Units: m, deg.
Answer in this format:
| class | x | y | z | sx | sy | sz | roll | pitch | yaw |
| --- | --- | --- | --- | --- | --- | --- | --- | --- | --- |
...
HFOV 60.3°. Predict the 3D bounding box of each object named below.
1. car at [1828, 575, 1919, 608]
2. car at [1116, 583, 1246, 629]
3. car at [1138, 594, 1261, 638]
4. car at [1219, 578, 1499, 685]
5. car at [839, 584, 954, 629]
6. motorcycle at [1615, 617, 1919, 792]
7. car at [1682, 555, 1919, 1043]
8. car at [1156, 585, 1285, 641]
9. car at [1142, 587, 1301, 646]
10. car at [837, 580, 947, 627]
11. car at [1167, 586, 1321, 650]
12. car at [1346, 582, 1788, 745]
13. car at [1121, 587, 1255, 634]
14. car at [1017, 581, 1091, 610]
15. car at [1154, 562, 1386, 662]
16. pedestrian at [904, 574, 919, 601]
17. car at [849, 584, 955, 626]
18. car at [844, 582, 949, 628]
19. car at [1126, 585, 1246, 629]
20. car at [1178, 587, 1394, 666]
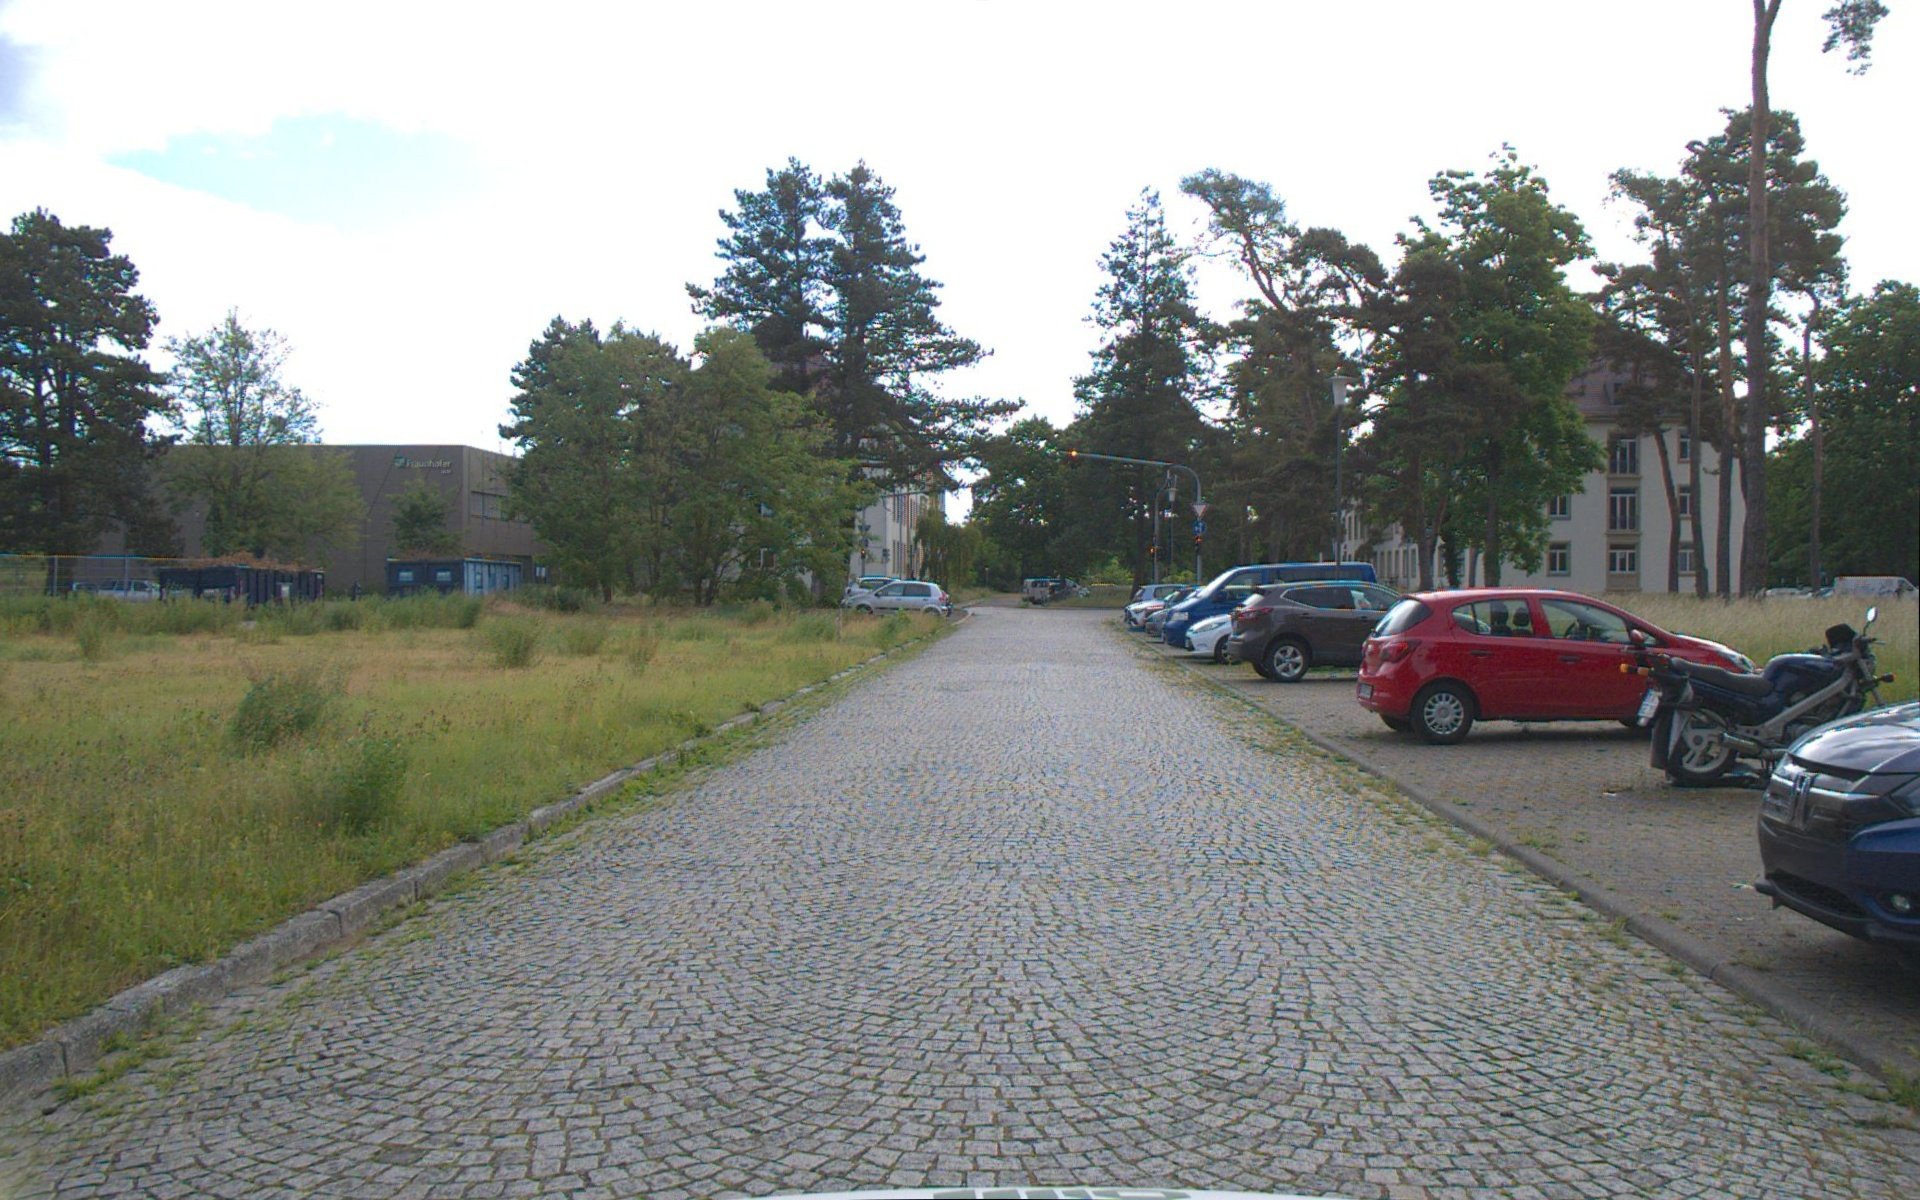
| class | x | y | z | sx | sy | sz | roll | pitch | yaw |
| --- | --- | --- | --- | --- | --- | --- | --- | --- | --- |
| car | 61.211 | -0.573 | 110.544 | 5.189 | 2.055 | 2.106 | 2 | 0 | 3 |
| car | 7.606 | 0.194 | 57.164 | 4.149 | 1.505 | 1.706 | -1 | 0 | -8 |
| car | 7.165 | 0.475 | 49.703 | 3.511 | 1.244 | 1.629 | -1 | 0 | 4 |
| car | 6.452 | 0.491 | 27.096 | 4.117 | 1.623 | 1.953 | -1 | 0 | 0 |
| car | -2.366 | 0.217 | 61.821 | 4.212 | 1.581 | 1.811 | -1 | 0 | -3 |
| motorcycle | 6.080 | 0.762 | 12.294 | 2.184 | 1.223 | 0.568 | -1 | 0 | 0 |
| car | 5.332 | 0.640 | 6.508 | 4.157 | 1.651 | 1.887 | -1 | 0 | 1 |
| car | 7.364 | 0.351 | 47.065 | 3.432 | 1.513 | 1.744 | -1 | 0 | 2 |
| car | 6.939 | 0.425 | 44.212 | 4.044 | 1.472 | 1.766 | -1 | 0 | 3 |
| car | -2.665 | 0.119 | 64.642 | 4.212 | 1.762 | 1.652 | -1 | 0 | -3 |
| car | 7.041 | 0.437 | 41.299 | 3.577 | 1.504 | 1.766 | -1 | 0 | 2 |
| car | 6.045 | 0.604 | 16.795 | 3.842 | 1.522 | 1.785 | -1 | 0 | 1 |
| car | 7.464 | 0.319 | 54.400 | 4.103 | 1.462 | 1.754 | -1 | 0 | -5 |
| car | 7.185 | -0.355 | 126.748 | 5.278 | 2.138 | 2.174 | 0 | 0 | -10 |
| car | 6.673 | 0.239 | 35.999 | 4.697 | 2.039 | 1.966 | -1 | 0 | 1 |
| pedestrian | -3.665 | -0.933 | 124.916 | 1.052 | 1.993 | 1.122 | 1 | 0 | 3 |
| car | -2.369 | 0.188 | 67.087 | 4.212 | 1.581 | 1.811 | -1 | 0 | -3 |
| car | -2.255 | 0.169 | 59.216 | 3.644 | 1.506 | 1.673 | 2 | 0 | 0 |
| car | 8.118 | 0.239 | 59.699 | 4.052 | 1.489 | 1.633 | -1 | 0 | -3 |
| car | 6.537 | 0.514 | 33.458 | 4.014 | 1.504 | 1.721 | -1 | 0 | -1 |
